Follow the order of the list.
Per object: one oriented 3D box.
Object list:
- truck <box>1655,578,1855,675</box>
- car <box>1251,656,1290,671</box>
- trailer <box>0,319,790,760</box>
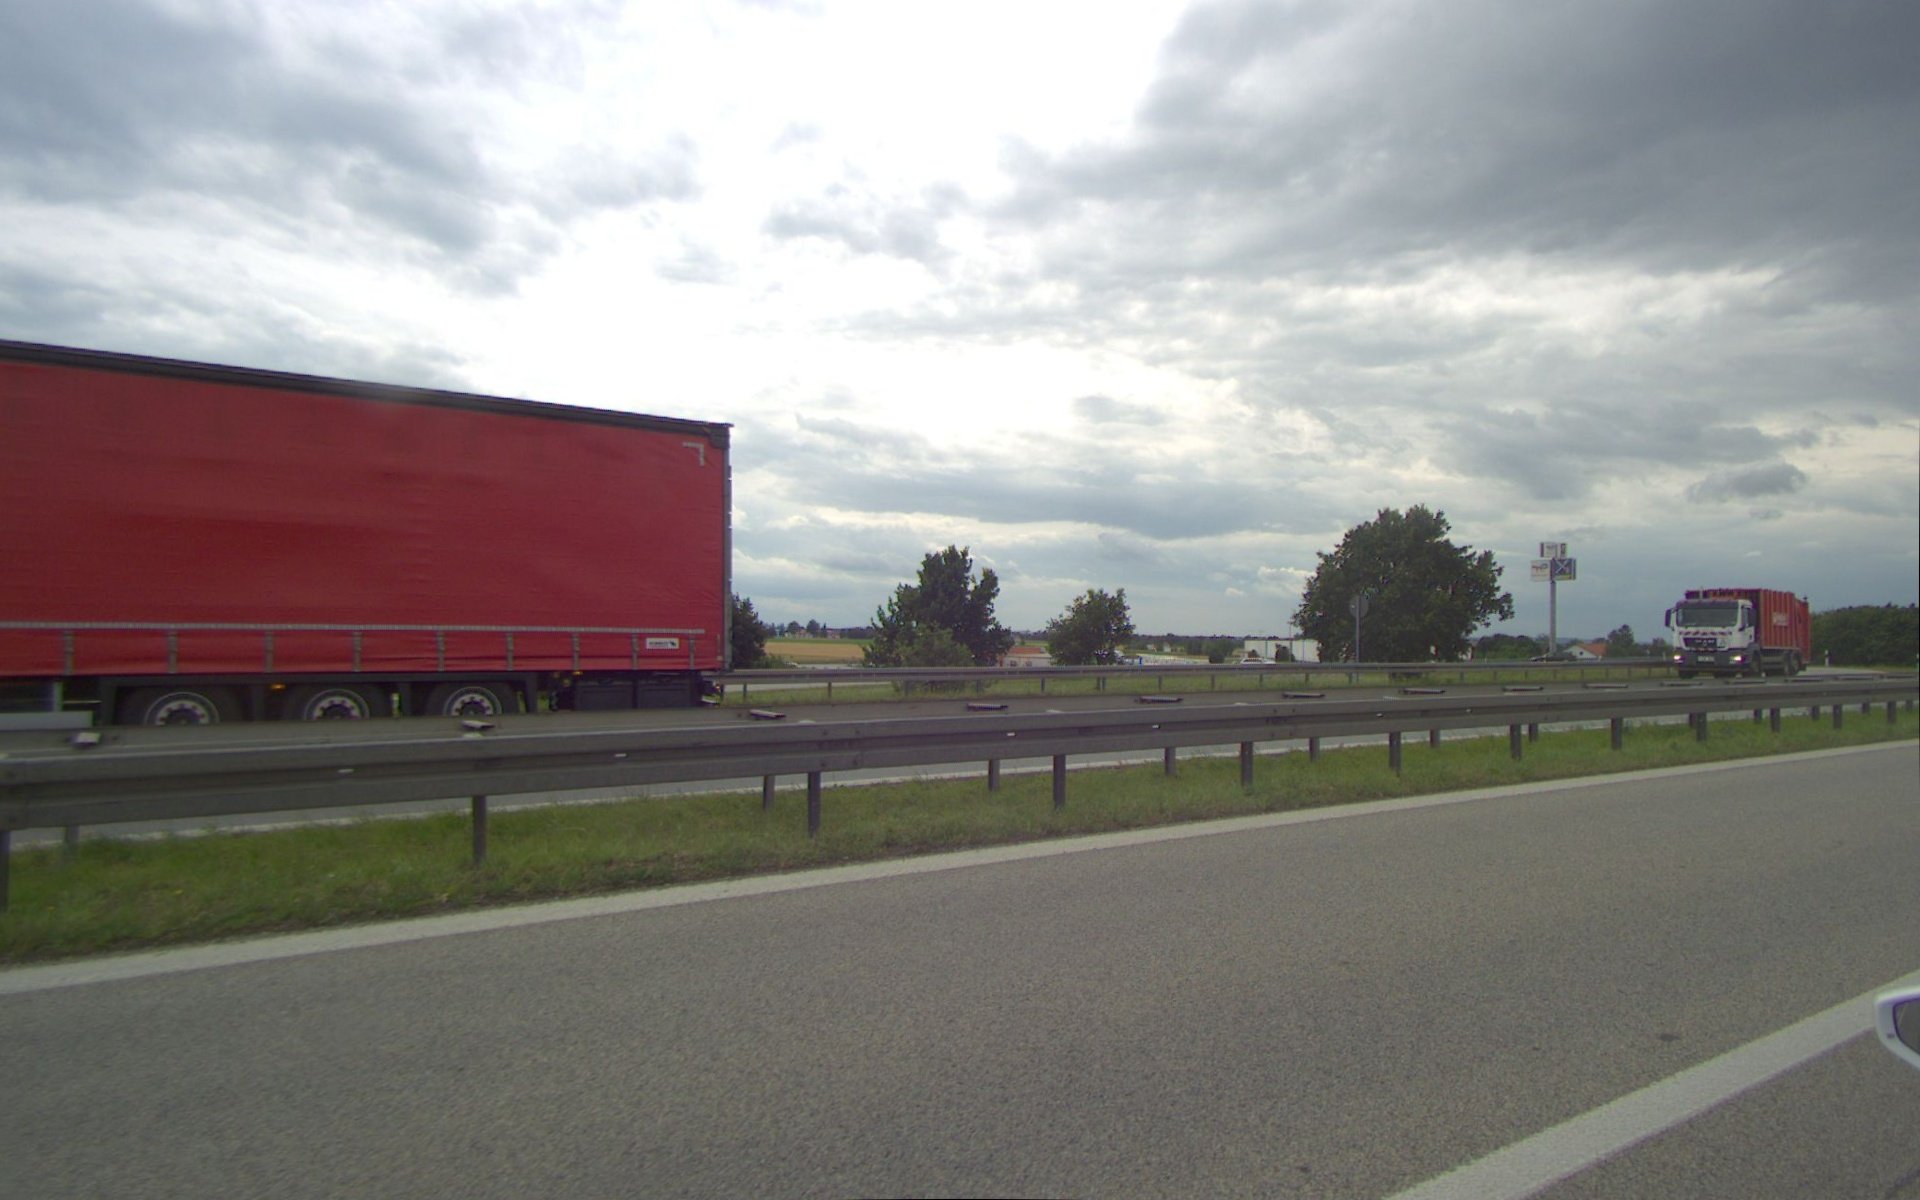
[{"bbox_3d":[32.740,1.185,41.157,10.950,3.582,2.656,2,-3,-31],"label":"truck"},{"bbox_3d":[38.671,7.872,124.992,4.222,1.493,1.912,3,1,36],"label":"car"},{"bbox_3d":[-8.891,-0.538,10.657,13.813,3.993,2.895,2,0,-30],"label":"trailer"}]
